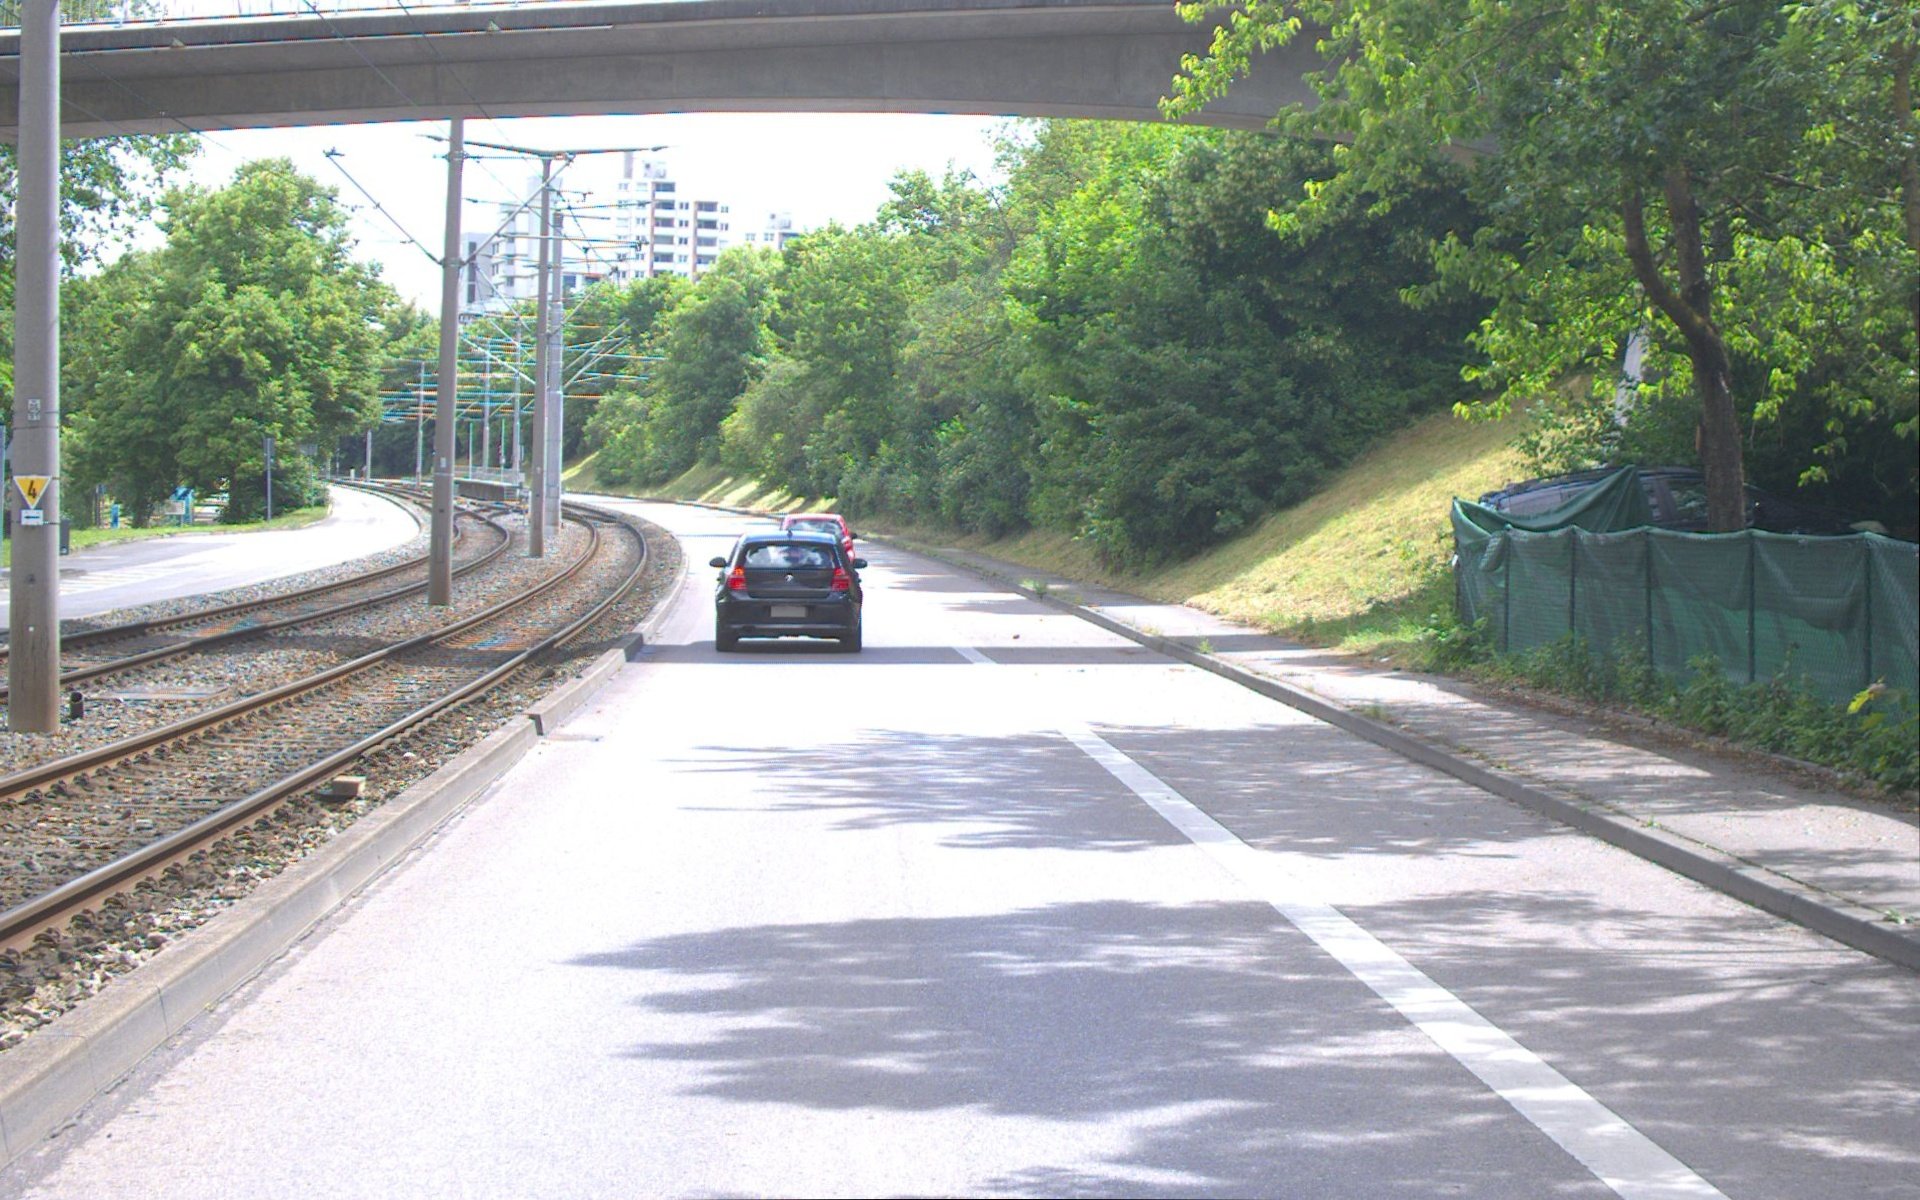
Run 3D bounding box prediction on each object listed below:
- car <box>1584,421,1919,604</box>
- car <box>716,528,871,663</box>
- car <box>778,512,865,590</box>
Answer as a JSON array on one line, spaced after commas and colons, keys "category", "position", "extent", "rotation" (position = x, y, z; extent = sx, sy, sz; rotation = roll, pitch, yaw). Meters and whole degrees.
[{"category": "car", "position": [8.862, -0.908, 35.205], "extent": [4.524, 1.666, 2.000], "rotation": [-3, 0, 1]}, {"category": "car", "position": [-1.959, -0.098, 41.343], "extent": [1.708, 1.455, 3.961], "rotation": [3, 1, -2]}, {"category": "car", "position": [-2.766, -0.967, 69.185], "extent": [1.624, 1.438, 3.421], "rotation": [3, 0, -1]}]
